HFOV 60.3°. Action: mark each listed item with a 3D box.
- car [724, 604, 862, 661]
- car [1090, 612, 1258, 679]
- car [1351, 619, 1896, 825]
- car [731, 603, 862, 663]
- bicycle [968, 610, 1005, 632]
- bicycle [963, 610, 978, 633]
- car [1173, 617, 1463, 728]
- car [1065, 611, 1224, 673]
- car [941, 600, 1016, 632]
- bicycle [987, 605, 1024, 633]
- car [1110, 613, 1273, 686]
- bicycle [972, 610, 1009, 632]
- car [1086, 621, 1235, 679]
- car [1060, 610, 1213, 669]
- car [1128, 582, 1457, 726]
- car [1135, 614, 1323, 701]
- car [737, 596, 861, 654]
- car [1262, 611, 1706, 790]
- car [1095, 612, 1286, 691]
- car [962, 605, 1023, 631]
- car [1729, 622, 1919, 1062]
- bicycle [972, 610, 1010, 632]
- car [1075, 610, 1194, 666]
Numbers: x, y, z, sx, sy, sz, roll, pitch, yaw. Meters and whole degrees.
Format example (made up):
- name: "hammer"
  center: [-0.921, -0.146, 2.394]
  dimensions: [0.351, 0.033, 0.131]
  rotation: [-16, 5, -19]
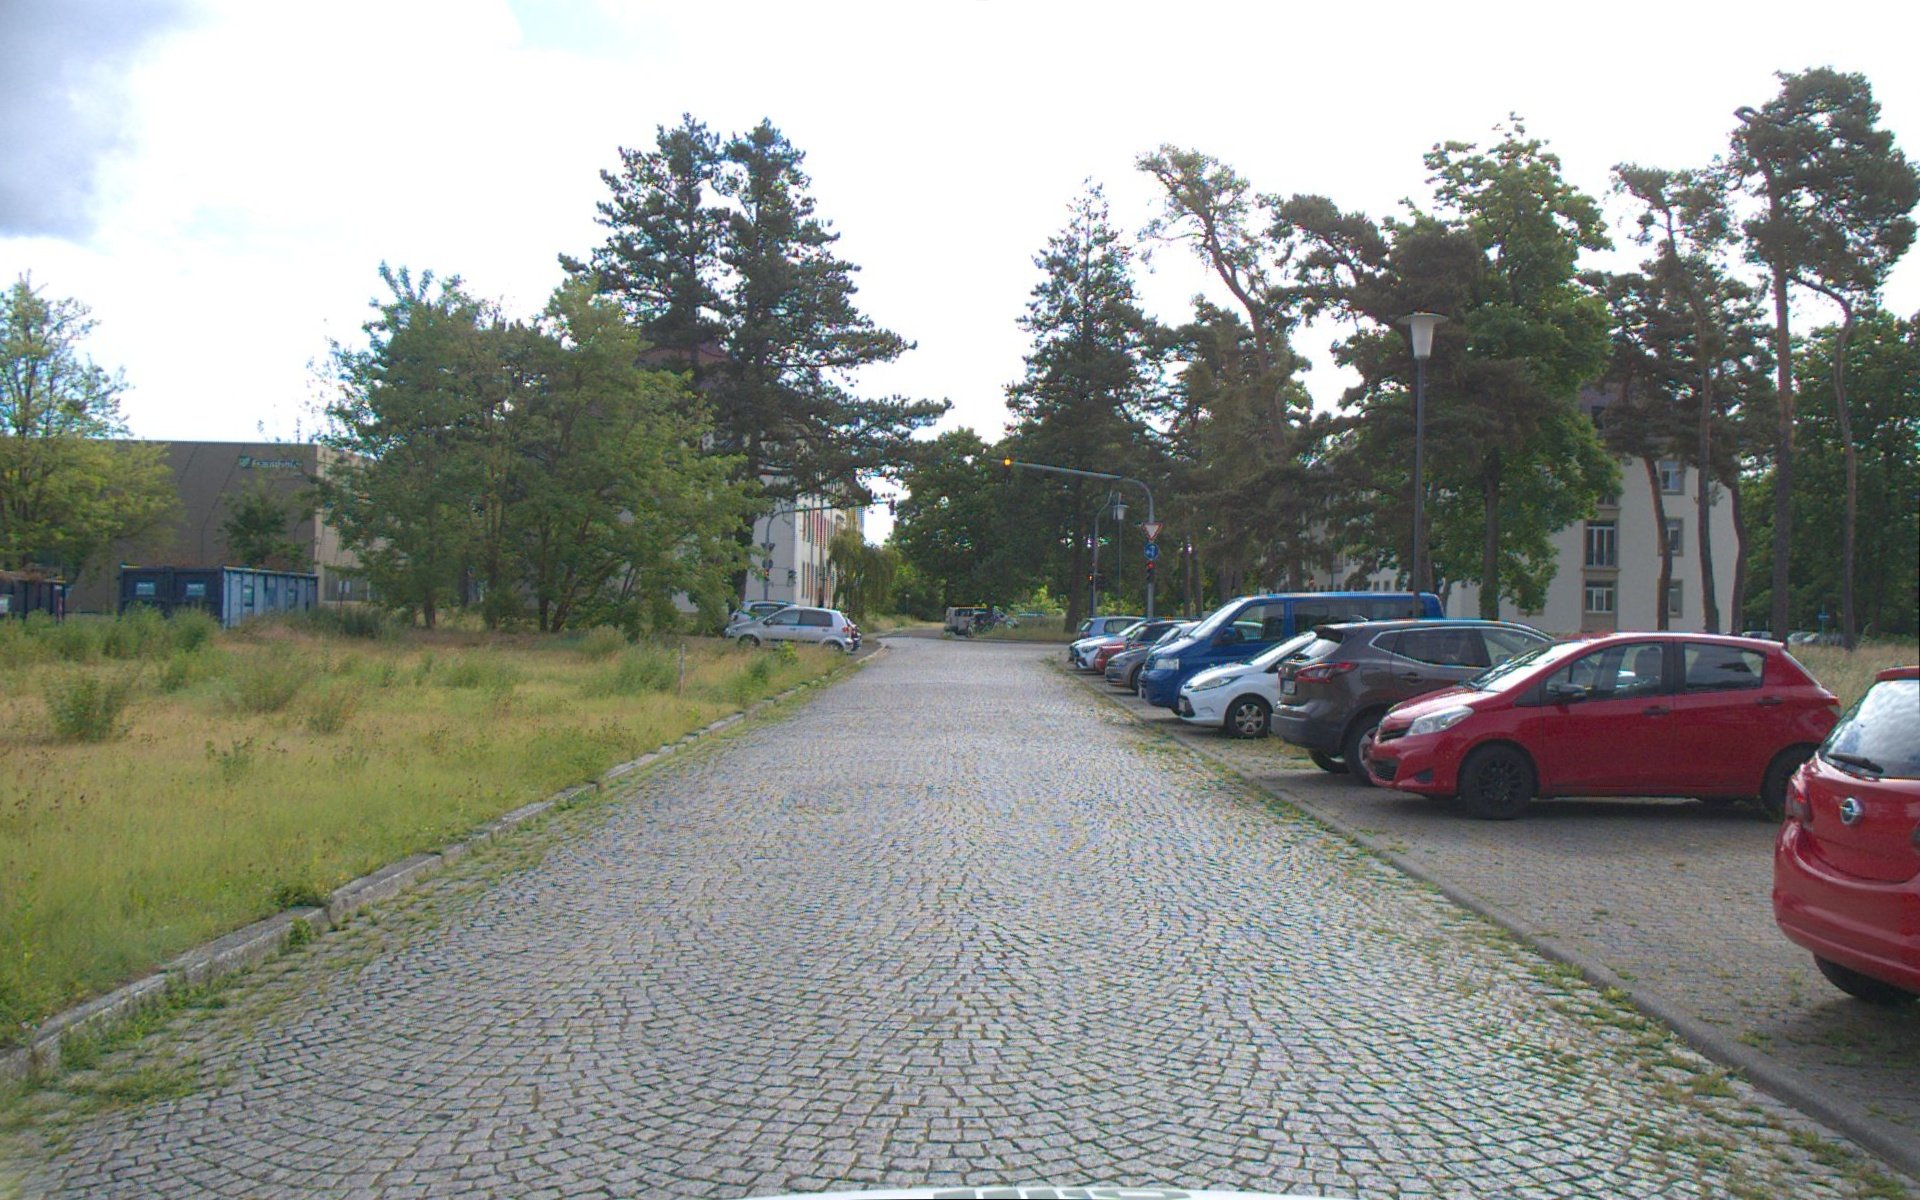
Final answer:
- name: "car"
  center: [-4.875, 0.947, 48.479]
  dimensions: [3.910, 1.579, 1.997]
  rotation: [1, 0, -6]
- name: "car"
  center: [5.374, 1.138, 41.729]
  dimensions: [3.910, 1.570, 1.662]
  rotation: [1, 0, -6]
- name: "car"
  center: [5.467, 0.977, 13.981]
  dimensions: [3.905, 1.545, 1.738]
  rotation: [1, 0, 0]
- name: "car"
  center: [-5.043, 1.005, 50.966]
  dimensions: [3.910, 1.736, 1.997]
  rotation: [1, 0, -6]
- name: "bicycle"
  center: [1.609, 1.272, 100.102]
  dimensions: [2.119, 1.290, 0.811]
  rotation: [1, 0, -7]
- name: "bicycle"
  center: [0.624, 1.241, 94.536]
  dimensions: [0.793, 1.290, 1.973]
  rotation: [1, 0, 1]
- name: "car"
  center: [4.923, 0.985, 23.050]
  dimensions: [3.648, 1.449, 1.653]
  rotation: [0, 0, -3]
- name: "car"
  center: [4.874, 1.103, 43.951]
  dimensions: [3.910, 1.570, 1.662]
  rotation: [1, 0, -6]
- name: "car"
  center: [1.268, 1.117, 116.124]
  dimensions: [4.959, 2.049, 1.995]
  rotation: [1, 0, -11]
- name: "bicycle"
  center: [2.758, 1.132, 99.606]
  dimensions: [2.119, 1.644, 0.811]
  rotation: [1, 0, -7]
- name: "car"
  center: [5.129, 1.090, 36.859]
  dimensions: [3.233, 1.531, 1.660]
  rotation: [1, 0, -11]
- name: "bicycle"
  center: [1.844, 1.261, 98.890]
  dimensions: [2.119, 1.290, 0.811]
  rotation: [1, 0, -7]
- name: "car"
  center: [4.758, 1.189, 39.485]
  dimensions: [3.229, 1.289, 1.662]
  rotation: [1, 0, -6]
- name: "car"
  center: [4.964, 1.098, 46.775]
  dimensions: [4.043, 1.570, 1.662]
  rotation: [1, 0, -6]
- name: "car"
  center: [5.047, 0.808, 25.507]
  dimensions: [4.686, 2.075, 1.737]
  rotation: [1, 0, -2]
- name: "car"
  center: [5.008, 1.059, 31.066]
  dimensions: [3.226, 1.531, 1.663]
  rotation: [1, 0, -2]
- name: "car"
  center: [-5.270, 0.800, 53.983]
  dimensions: [3.911, 1.780, 1.924]
  rotation: [1, 0, -7]
- name: "car"
  center: [5.150, 0.968, 16.601]
  dimensions: [3.870, 1.608, 1.761]
  rotation: [1, 0, -2]
- name: "car"
  center: [4.687, 1.042, 33.886]
  dimensions: [3.533, 1.533, 1.660]
  rotation: [1, 0, -11]
- name: "car"
  center: [2.217, 1.236, 112.851]
  dimensions: [3.910, 1.673, 1.997]
  rotation: [1, 0, -6]
- name: "car"
  center: [5.252, 0.864, 6.400]
  dimensions: [3.761, 1.532, 1.737]
  rotation: [0, 0, -1]
- name: "bicycle"
  center: [1.849, 1.252, 98.302]
  dimensions: [2.119, 1.290, 0.811]
  rotation: [1, 0, -7]
- name: "car"
  center: [5.184, 1.125, 49.346]
  dimensions: [3.323, 1.570, 1.389]
  rotation: [1, 0, -6]
